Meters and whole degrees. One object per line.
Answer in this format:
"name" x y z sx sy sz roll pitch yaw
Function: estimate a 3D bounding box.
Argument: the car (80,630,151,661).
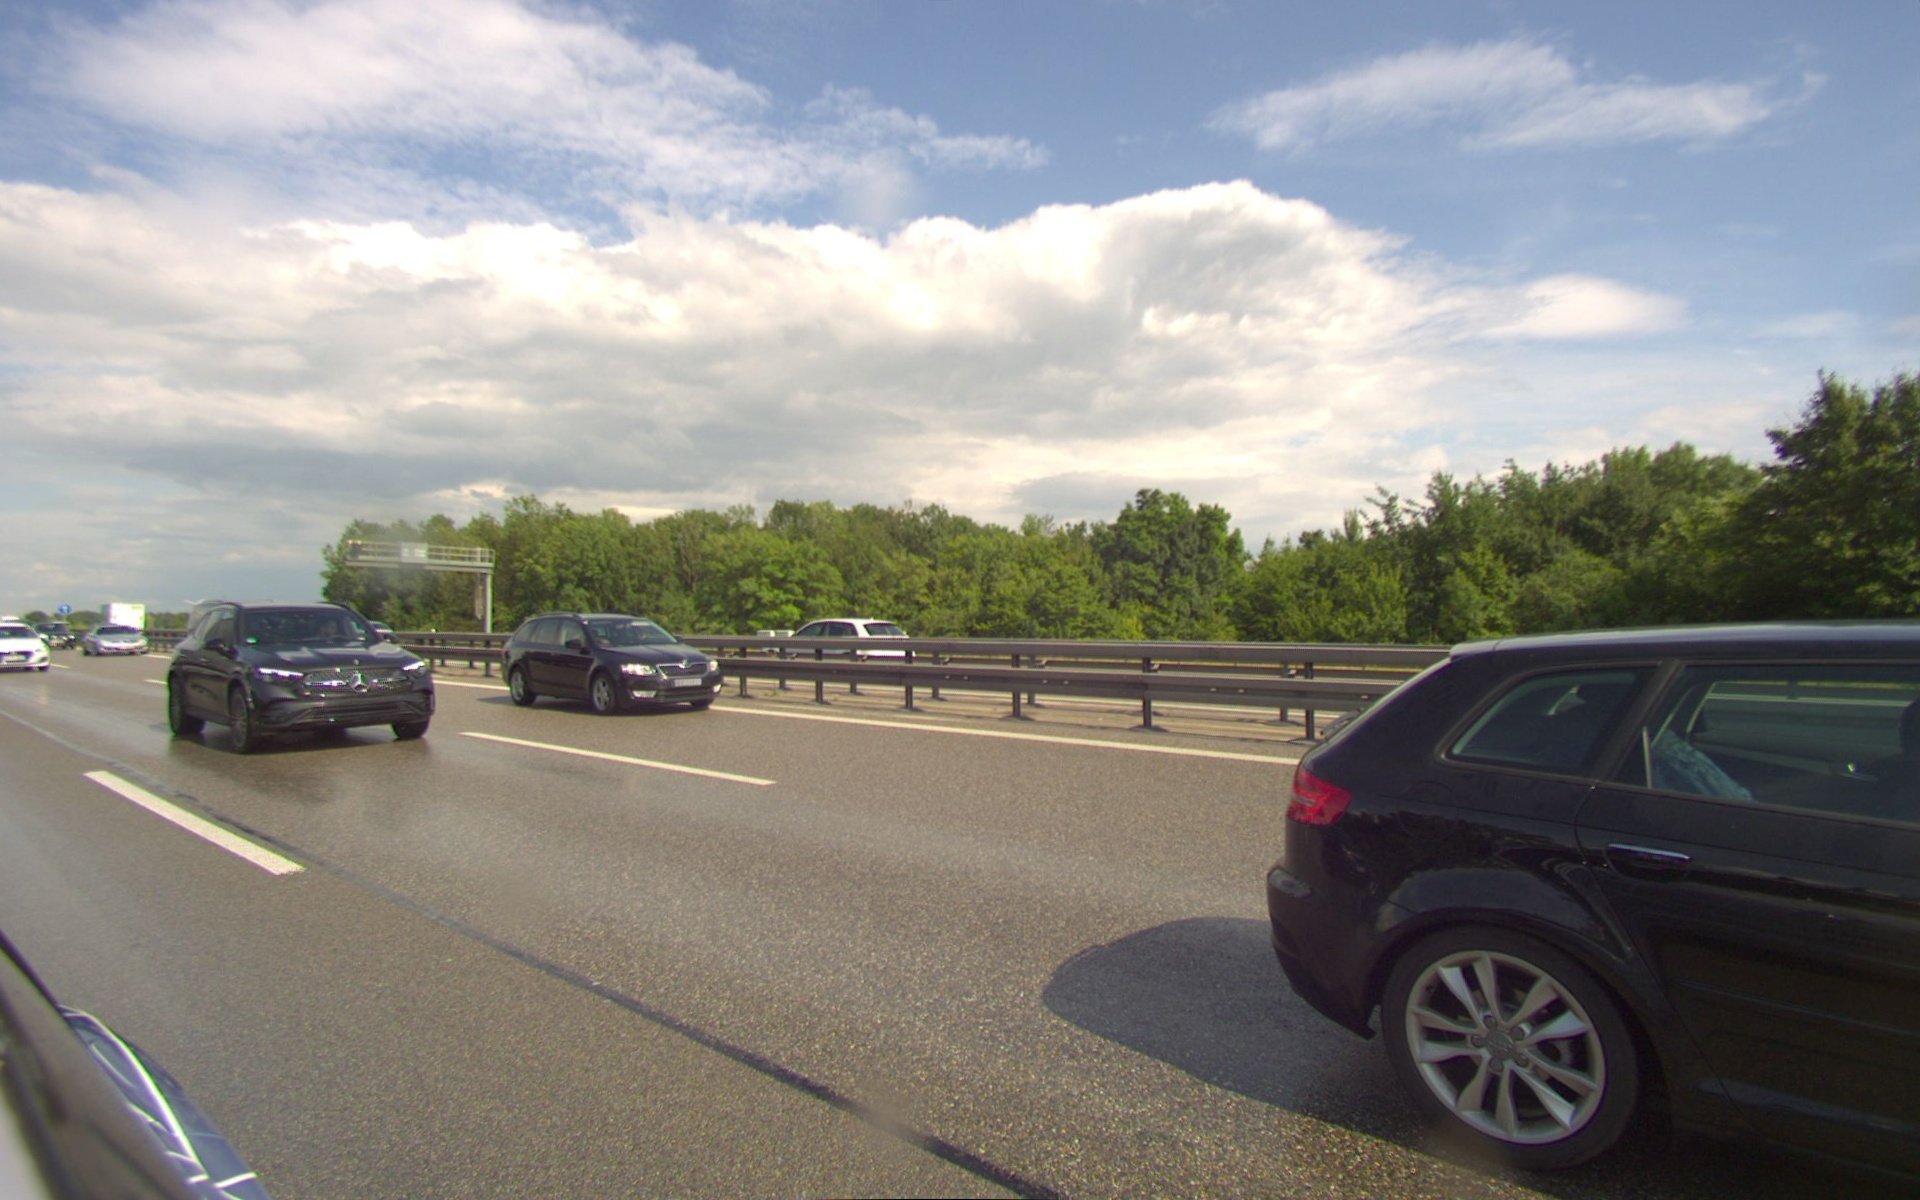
"car" -35.542 1.866 42.572 3.583 1.198 1.832 -1 -1 43

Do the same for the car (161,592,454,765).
"car" -7.967 0.804 12.164 4.625 1.692 1.856 -1 -1 42

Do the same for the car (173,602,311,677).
"car" -20.430 1.077 28.697 5.232 1.932 1.973 -1 -1 40

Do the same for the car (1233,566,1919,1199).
"car" 2.901 0.642 2.306 4.052 1.444 1.732 -2 -1 42

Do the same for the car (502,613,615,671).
"car" -15.389 1.555 38.669 5.074 2.029 1.832 -1 0 40

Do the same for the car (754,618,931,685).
"car" -2.795 1.141 23.702 3.995 1.401 1.844 -1 0 39

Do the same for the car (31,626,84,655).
"car" -47.417 2.108 53.130 3.998 1.431 1.597 -1 -1 41

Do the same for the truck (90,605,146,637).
"truck" -84.014 2.102 100.877 8.716 3.009 2.886 -1 0 41

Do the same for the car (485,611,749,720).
"car" -5.396 0.920 15.654 4.369 1.435 1.901 -1 -1 40

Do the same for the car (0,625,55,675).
"car" -28.537 1.457 30.208 4.238 1.408 1.785 -1 -2 42

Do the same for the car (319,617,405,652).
"car" -25.291 1.450 42.731 4.492 1.364 1.848 -1 -1 42
